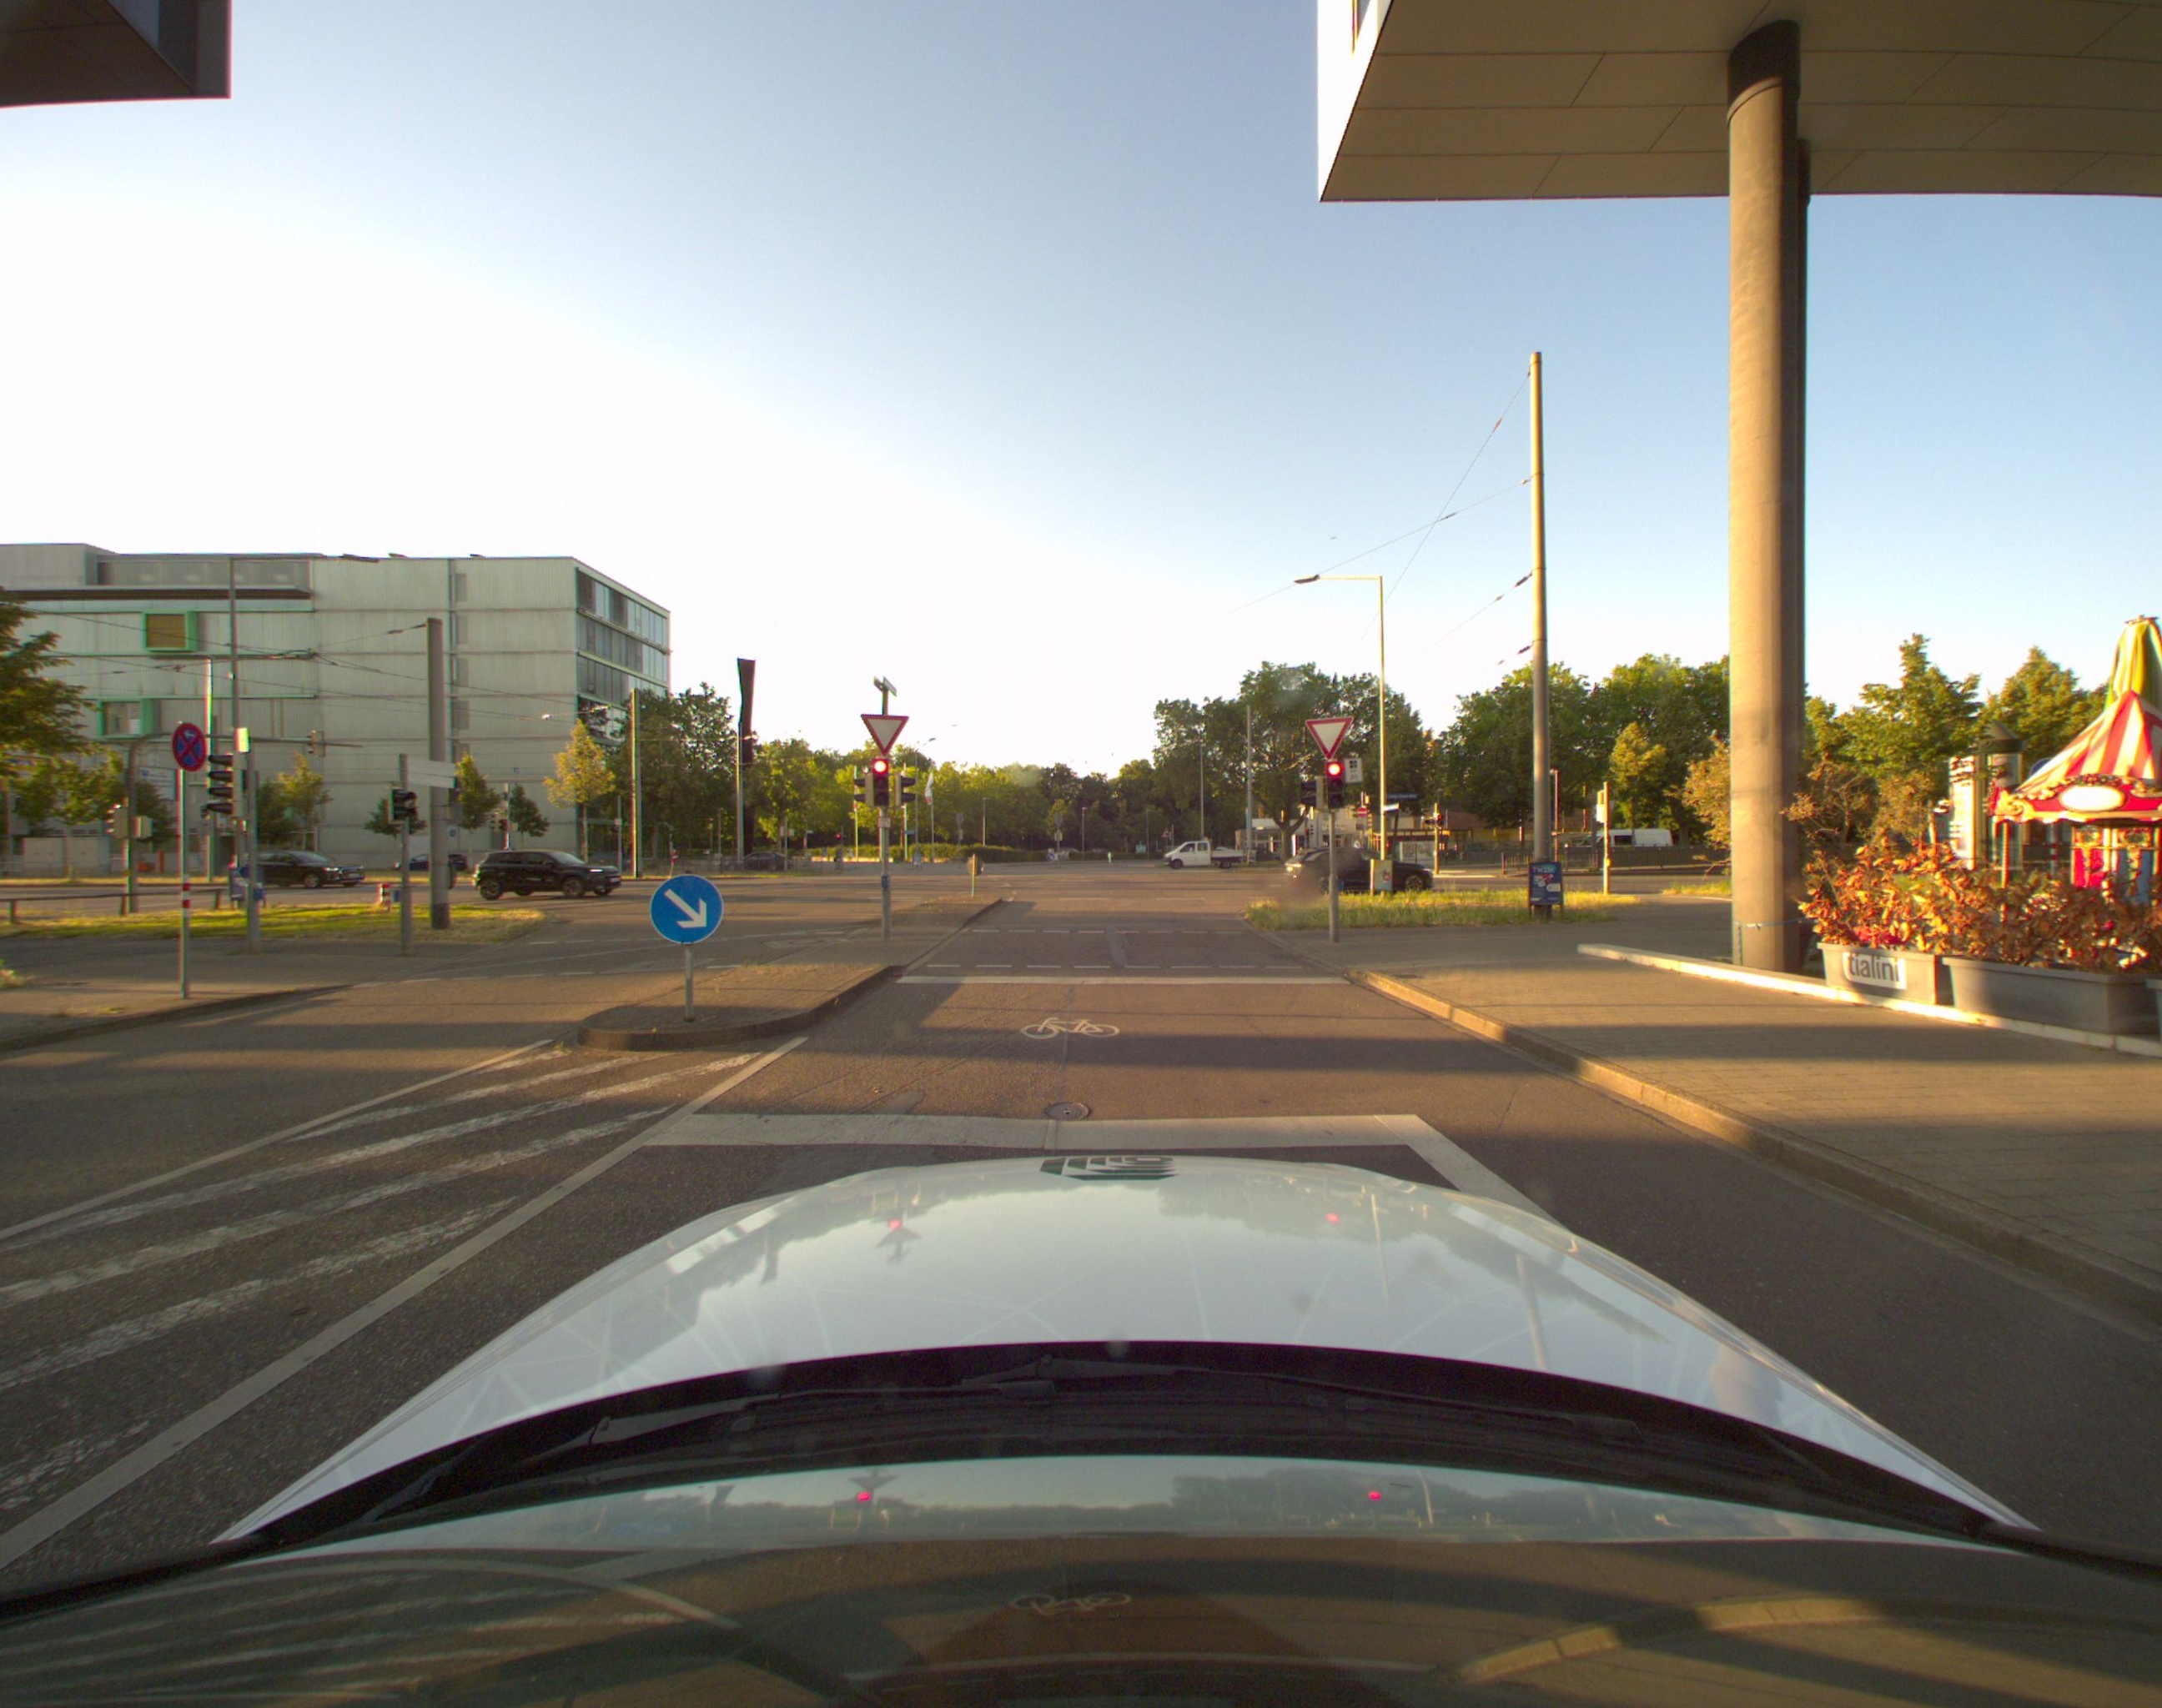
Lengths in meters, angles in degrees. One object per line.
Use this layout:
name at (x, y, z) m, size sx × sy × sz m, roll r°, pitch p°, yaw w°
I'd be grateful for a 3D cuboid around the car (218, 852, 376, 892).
car at (-32.513, 0.735, 33.895) m, size 4.467 × 1.557 × 1.986 m, roll -1°, pitch 0°, yaw -4°

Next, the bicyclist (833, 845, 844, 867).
bicyclist at (-19.033, 0.180, 63.923) m, size 0.753 × 1.709 × 0.914 m, roll -1°, pitch 0°, yaw -20°

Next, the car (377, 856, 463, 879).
car at (-46.399, 0.932, 57.193) m, size 4.454 × 1.552 × 2.001 m, roll -1°, pitch -1°, yaw 3°

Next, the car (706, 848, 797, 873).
car at (-21.879, 0.443, 54.265) m, size 5.206 × 1.552 × 2.000 m, roll -1°, pitch -1°, yaw 1°

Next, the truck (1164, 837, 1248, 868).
truck at (8.635, -0.100, 56.625) m, size 5.535 × 2.054 × 2.069 m, roll -1°, pitch 0°, yaw 2°

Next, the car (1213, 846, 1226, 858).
car at (22.263, -0.259, 130.879) m, size 1.850 × 1.794 × 4.013 m, roll -1°, pitch -1°, yaw 12°

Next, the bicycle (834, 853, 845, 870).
bicycle at (-18.963, 0.584, 63.853) m, size 0.732 × 1.341 × 2.674 m, roll -1°, pitch 0°, yaw -18°

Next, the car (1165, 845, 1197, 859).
car at (15.410, -0.341, 125.729) m, size 4.753 × 2.006 × 2.002 m, roll -1°, pitch -1°, yaw 3°

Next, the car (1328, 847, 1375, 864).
car at (23.842, 0.144, 71.868) m, size 3.715 × 1.440 × 1.669 m, roll -1°, pitch -1°, yaw 11°

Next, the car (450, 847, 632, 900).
car at (-17.219, 0.601, 26.160) m, size 4.423 × 1.574 × 1.998 m, roll -1°, pitch 0°, yaw -3°

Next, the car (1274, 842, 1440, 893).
car at (9.203, 0.430, 27.409) m, size 4.895 × 1.614 × 1.998 m, roll -1°, pitch 0°, yaw -2°

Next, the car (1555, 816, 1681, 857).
car at (37.484, -1.188, 56.994) m, size 6.892 × 2.636 × 2.812 m, roll -1°, pitch -1°, yaw 1°

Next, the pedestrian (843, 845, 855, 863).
pedestrian at (-23.342, -0.003, 81.956) m, size 0.852 × 1.744 × 0.835 m, roll -1°, pitch 0°, yaw 37°

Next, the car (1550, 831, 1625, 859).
car at (47.856, -0.845, 77.072) m, size 5.561 × 2.551 × 2.235 m, roll -1°, pitch 0°, yaw 9°

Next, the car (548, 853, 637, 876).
car at (-34.623, 0.719, 57.763) m, size 5.082 × 1.552 × 2.000 m, roll -1°, pitch -1°, yaw 1°

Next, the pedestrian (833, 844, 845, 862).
pedestrian at (-24.030, -0.106, 80.897) m, size 0.852 × 1.744 × 0.835 m, roll -1°, pitch 0°, yaw 29°

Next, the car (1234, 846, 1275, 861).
car at (18.918, 0.007, 88.900) m, size 4.194 × 1.552 × 2.005 m, roll -1°, pitch -1°, yaw 9°
